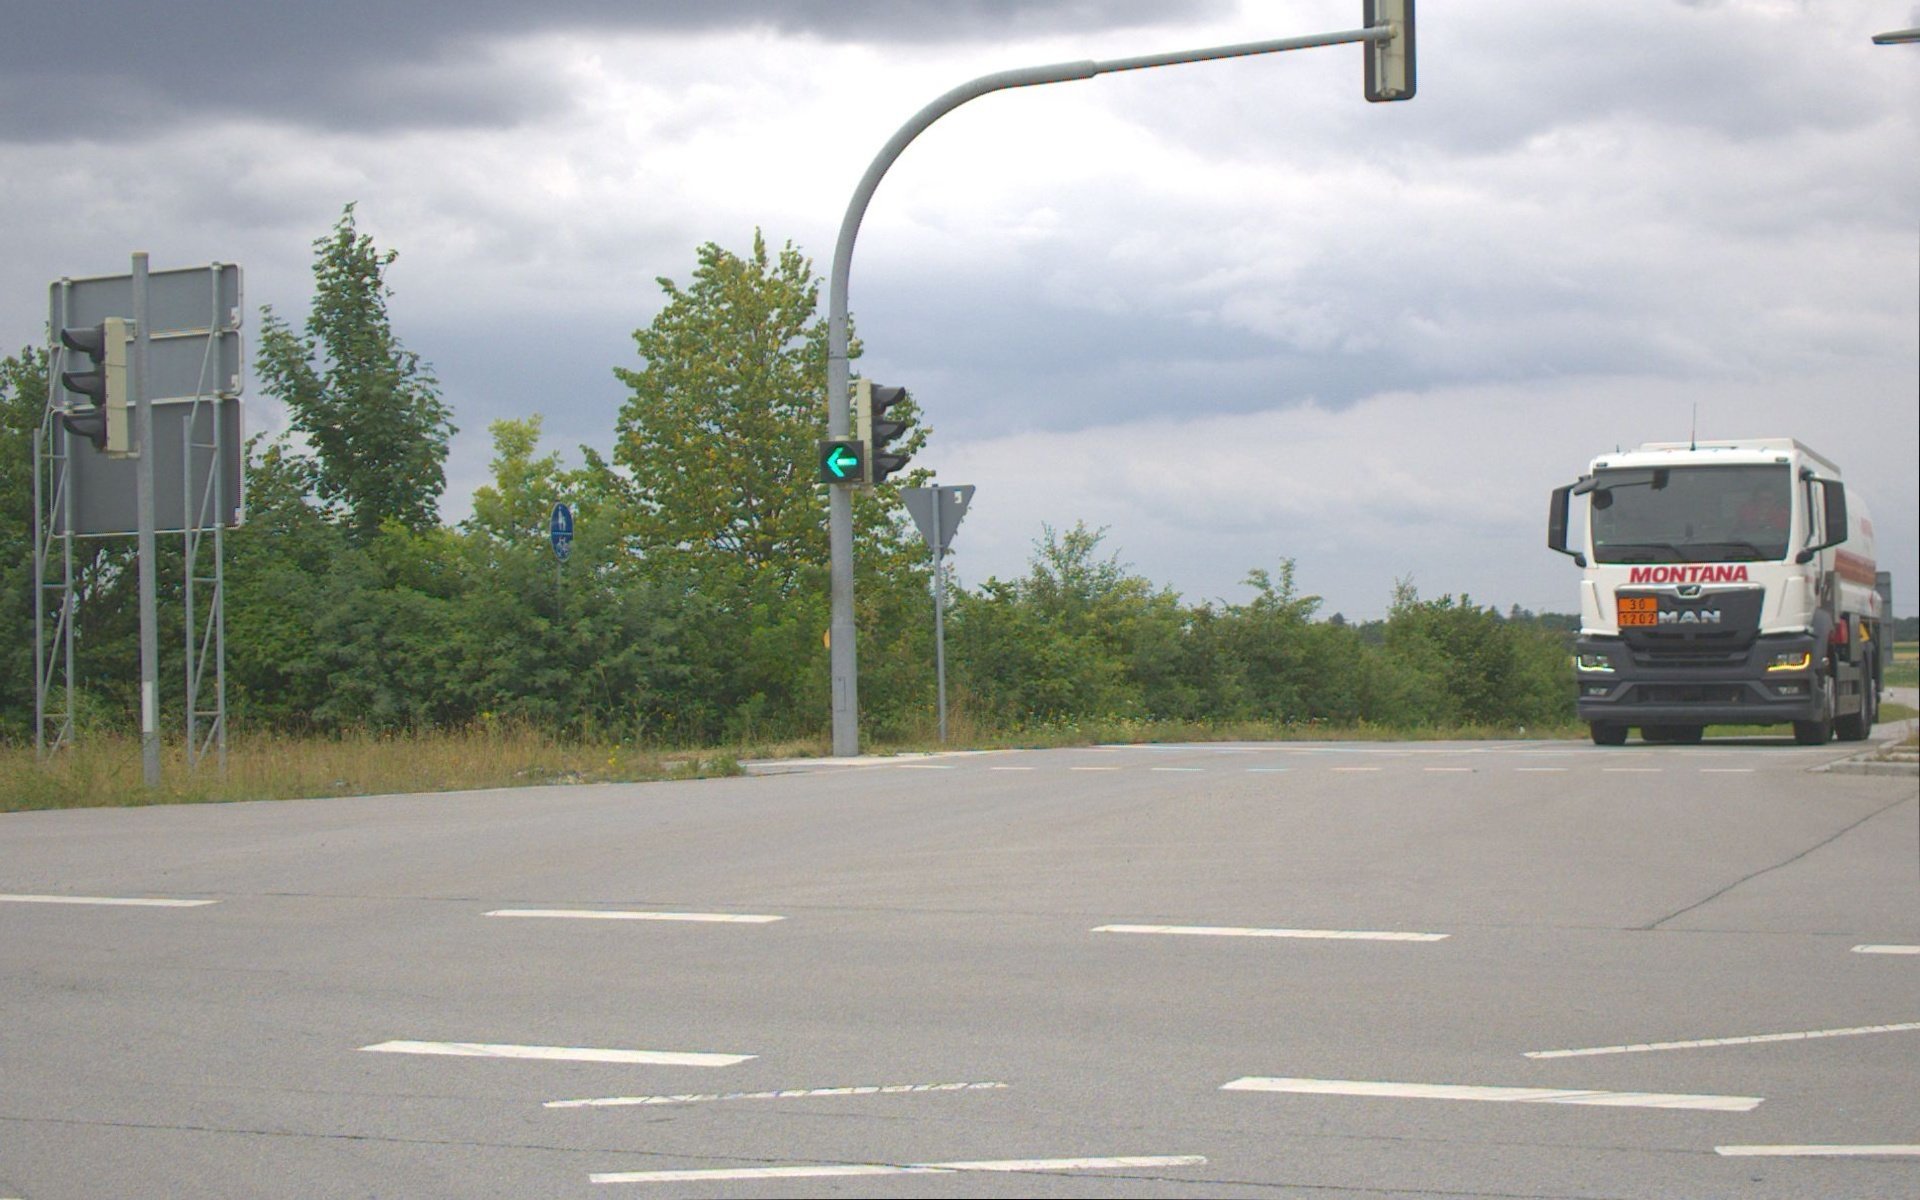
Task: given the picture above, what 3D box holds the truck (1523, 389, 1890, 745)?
[{"bbox_3d":[8.387,-0.227,37.745,2.872,3.397,8.641,-2,-2,19],"label":"truck"}]
